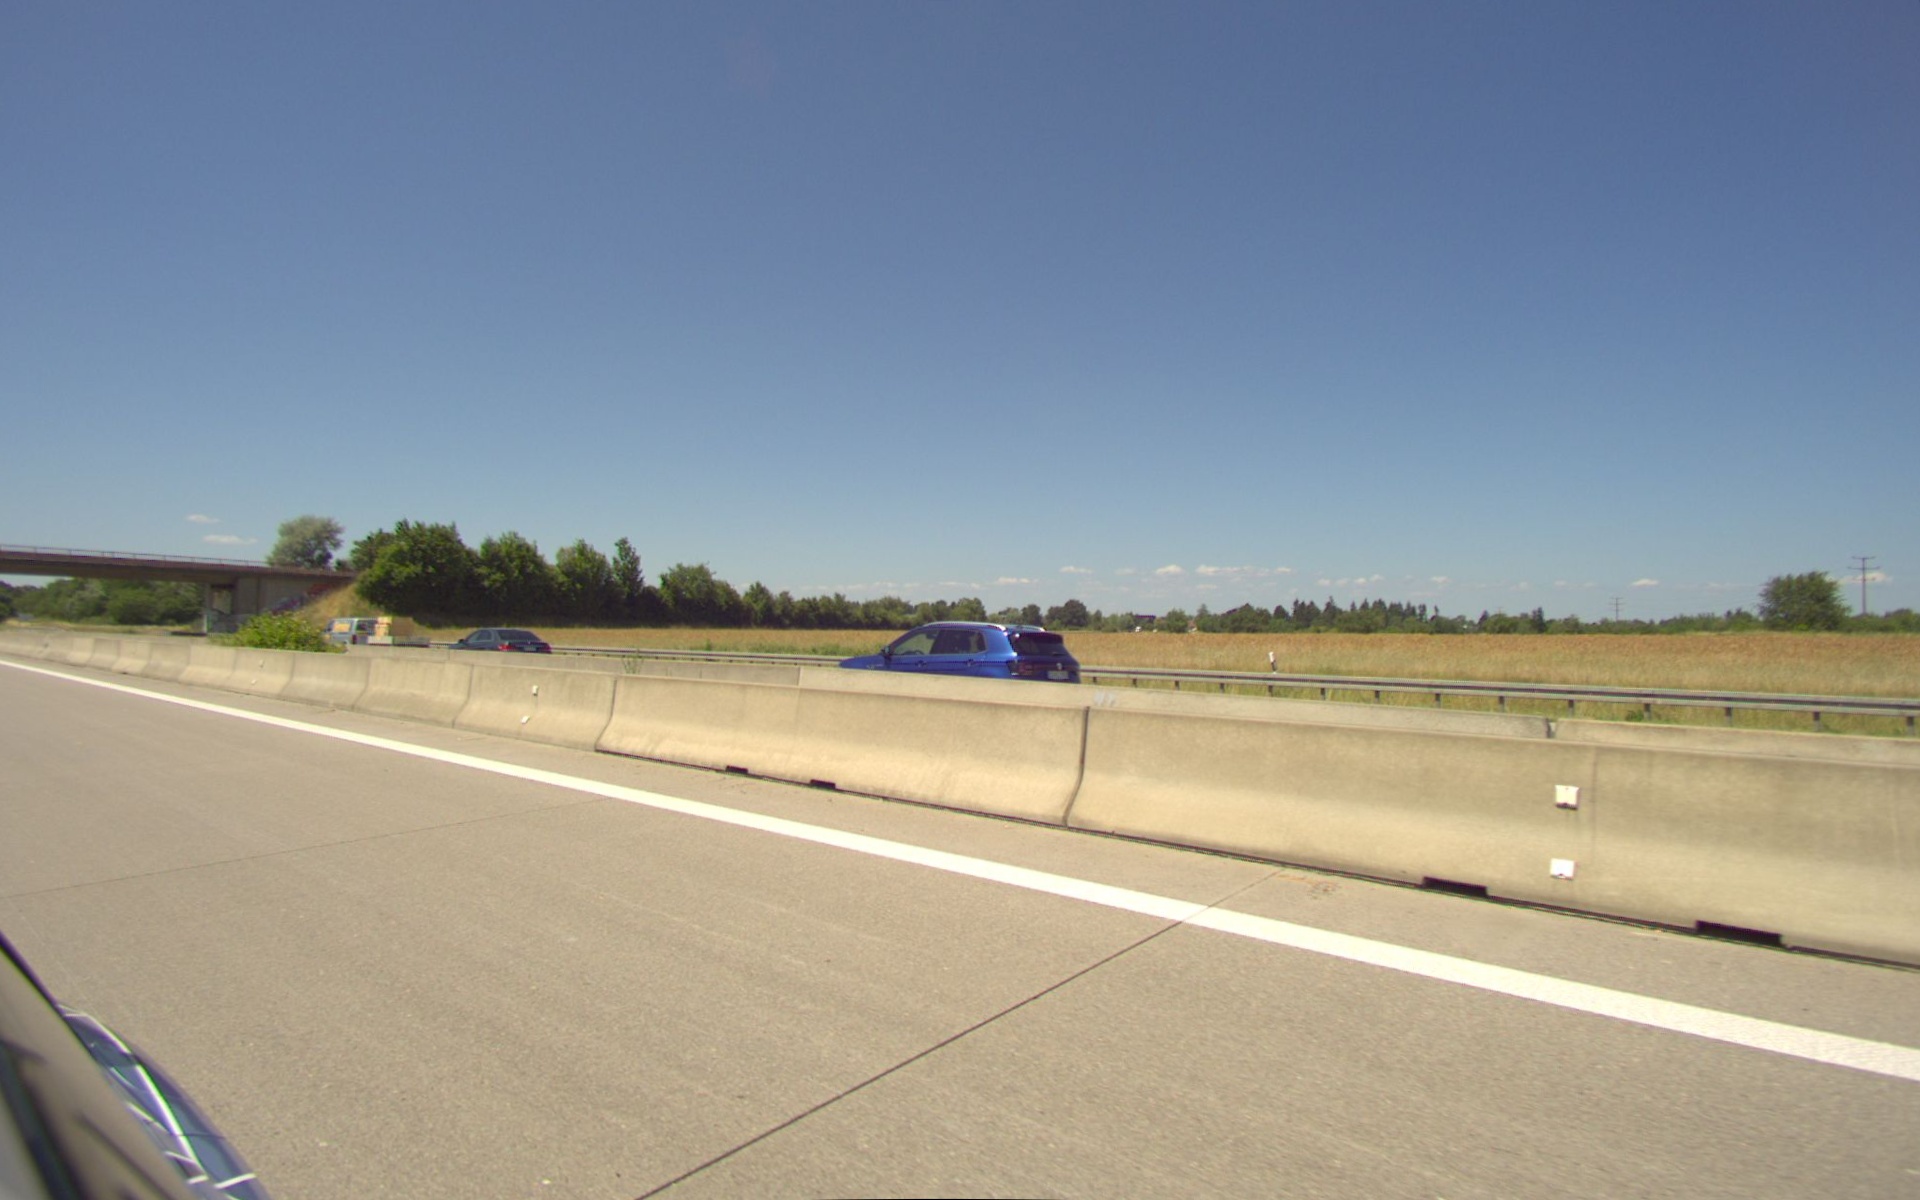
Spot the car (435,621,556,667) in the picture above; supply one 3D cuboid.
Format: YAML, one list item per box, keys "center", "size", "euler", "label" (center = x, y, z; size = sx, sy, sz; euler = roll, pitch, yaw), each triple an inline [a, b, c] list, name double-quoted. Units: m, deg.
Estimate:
- center: [-15.570, 1.424, 33.816]
  size: [5.039, 1.370, 1.695]
  euler: [-1, 0, 40]
  label: "car"

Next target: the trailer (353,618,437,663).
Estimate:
- center: [-27.671, 1.939, 49.494]
  size: [5.610, 2.058, 1.791]
  euler: [-1, 0, 41]
  label: "trailer"

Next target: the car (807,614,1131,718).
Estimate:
- center: [-0.006, 0.850, 14.671]
  size: [4.674, 1.249, 1.754]
  euler: [-1, 0, 40]
  label: "car"

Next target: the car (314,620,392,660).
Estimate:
- center: [-31.907, 2.058, 53.140]
  size: [5.562, 1.959, 1.846]
  euler: [-1, 0, 41]
  label: "car"
